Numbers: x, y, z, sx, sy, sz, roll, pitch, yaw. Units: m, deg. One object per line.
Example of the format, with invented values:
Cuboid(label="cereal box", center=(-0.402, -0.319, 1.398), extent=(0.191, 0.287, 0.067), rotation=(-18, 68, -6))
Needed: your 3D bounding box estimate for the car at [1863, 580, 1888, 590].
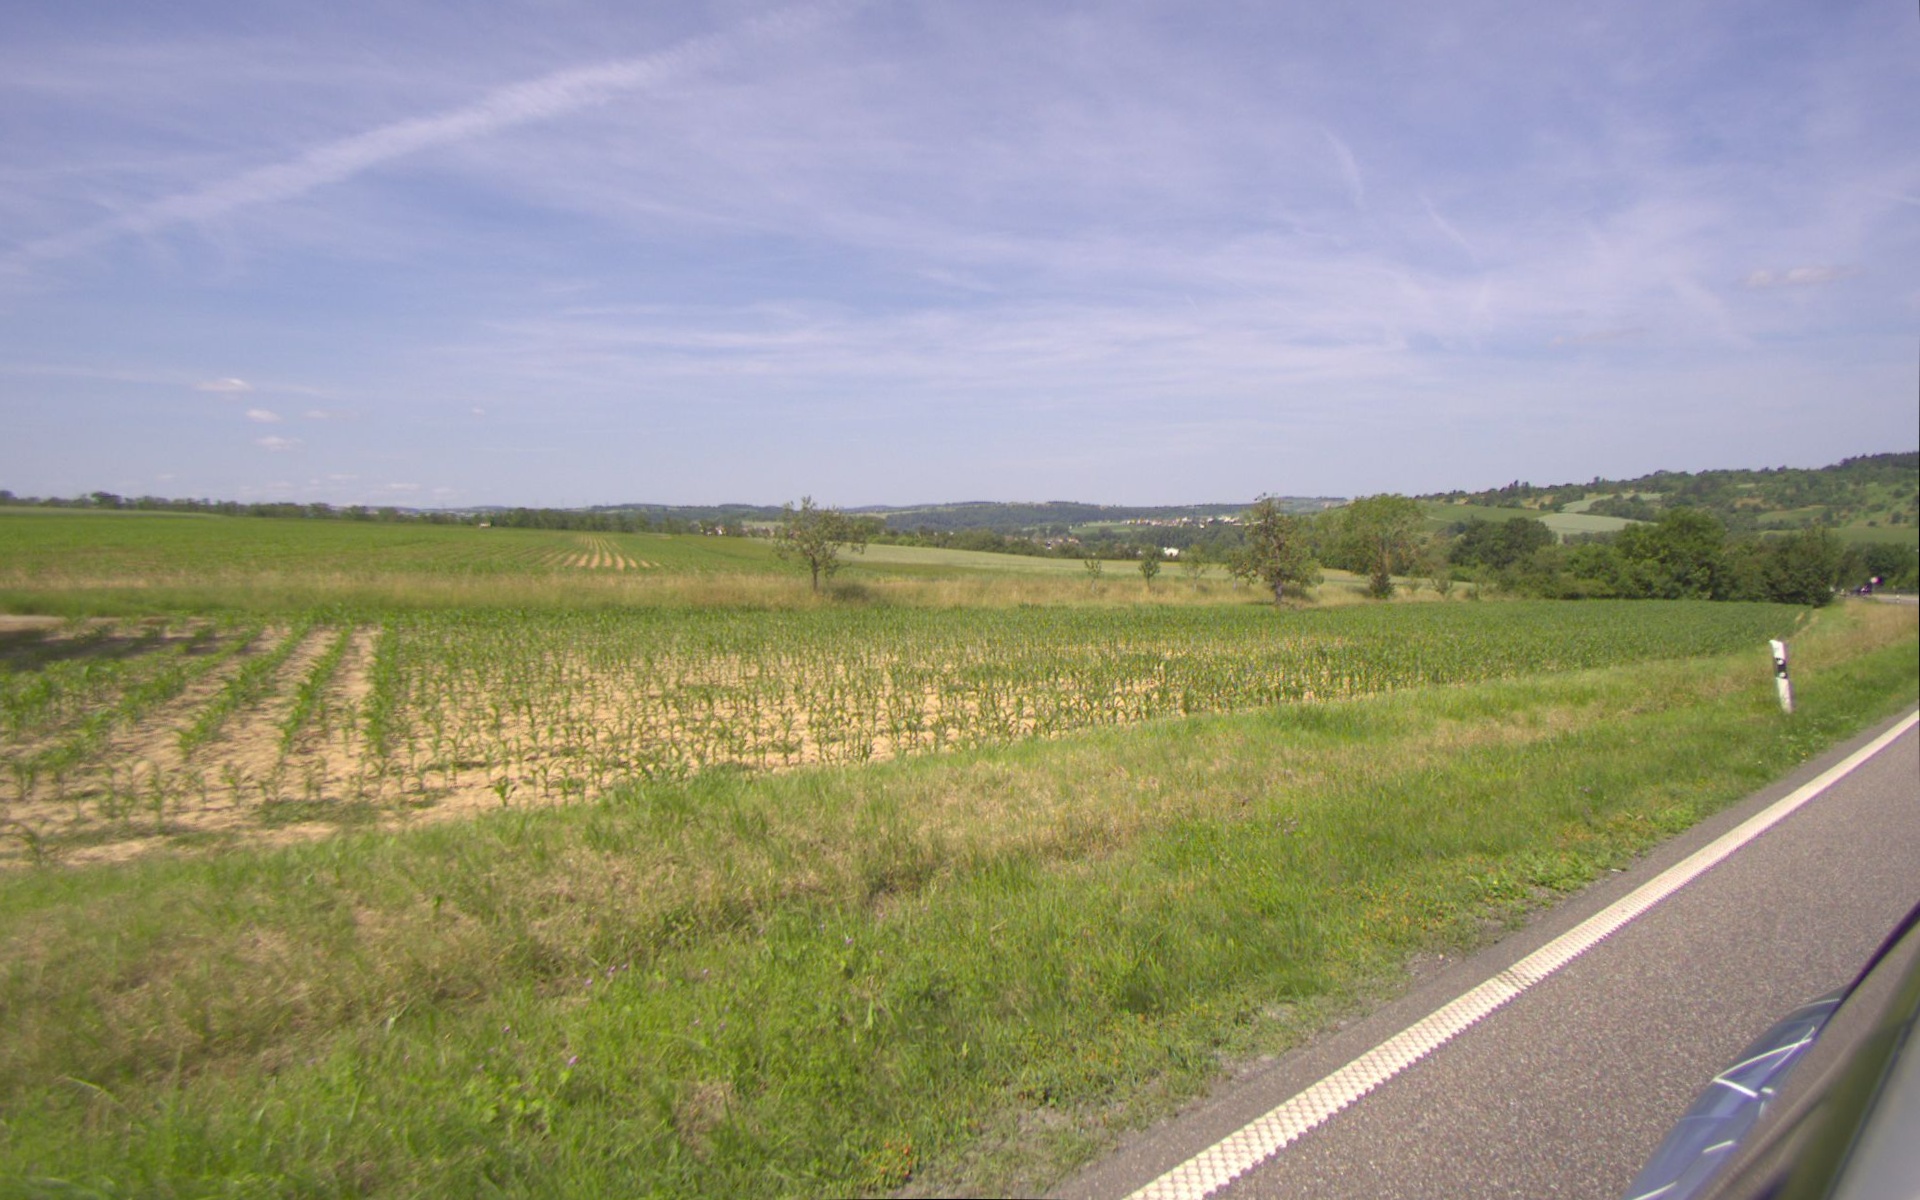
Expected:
Cuboid(label="car", center=(144.178, -2.363, 159.457), extent=(1.824, 1.473, 4.286), rotation=(1, 2, 27))

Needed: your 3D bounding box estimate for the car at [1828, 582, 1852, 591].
Cuboid(label="car", center=(151.365, -2.292, 174.070), extent=(1.640, 1.475, 3.715), rotation=(0, 1, 17))
